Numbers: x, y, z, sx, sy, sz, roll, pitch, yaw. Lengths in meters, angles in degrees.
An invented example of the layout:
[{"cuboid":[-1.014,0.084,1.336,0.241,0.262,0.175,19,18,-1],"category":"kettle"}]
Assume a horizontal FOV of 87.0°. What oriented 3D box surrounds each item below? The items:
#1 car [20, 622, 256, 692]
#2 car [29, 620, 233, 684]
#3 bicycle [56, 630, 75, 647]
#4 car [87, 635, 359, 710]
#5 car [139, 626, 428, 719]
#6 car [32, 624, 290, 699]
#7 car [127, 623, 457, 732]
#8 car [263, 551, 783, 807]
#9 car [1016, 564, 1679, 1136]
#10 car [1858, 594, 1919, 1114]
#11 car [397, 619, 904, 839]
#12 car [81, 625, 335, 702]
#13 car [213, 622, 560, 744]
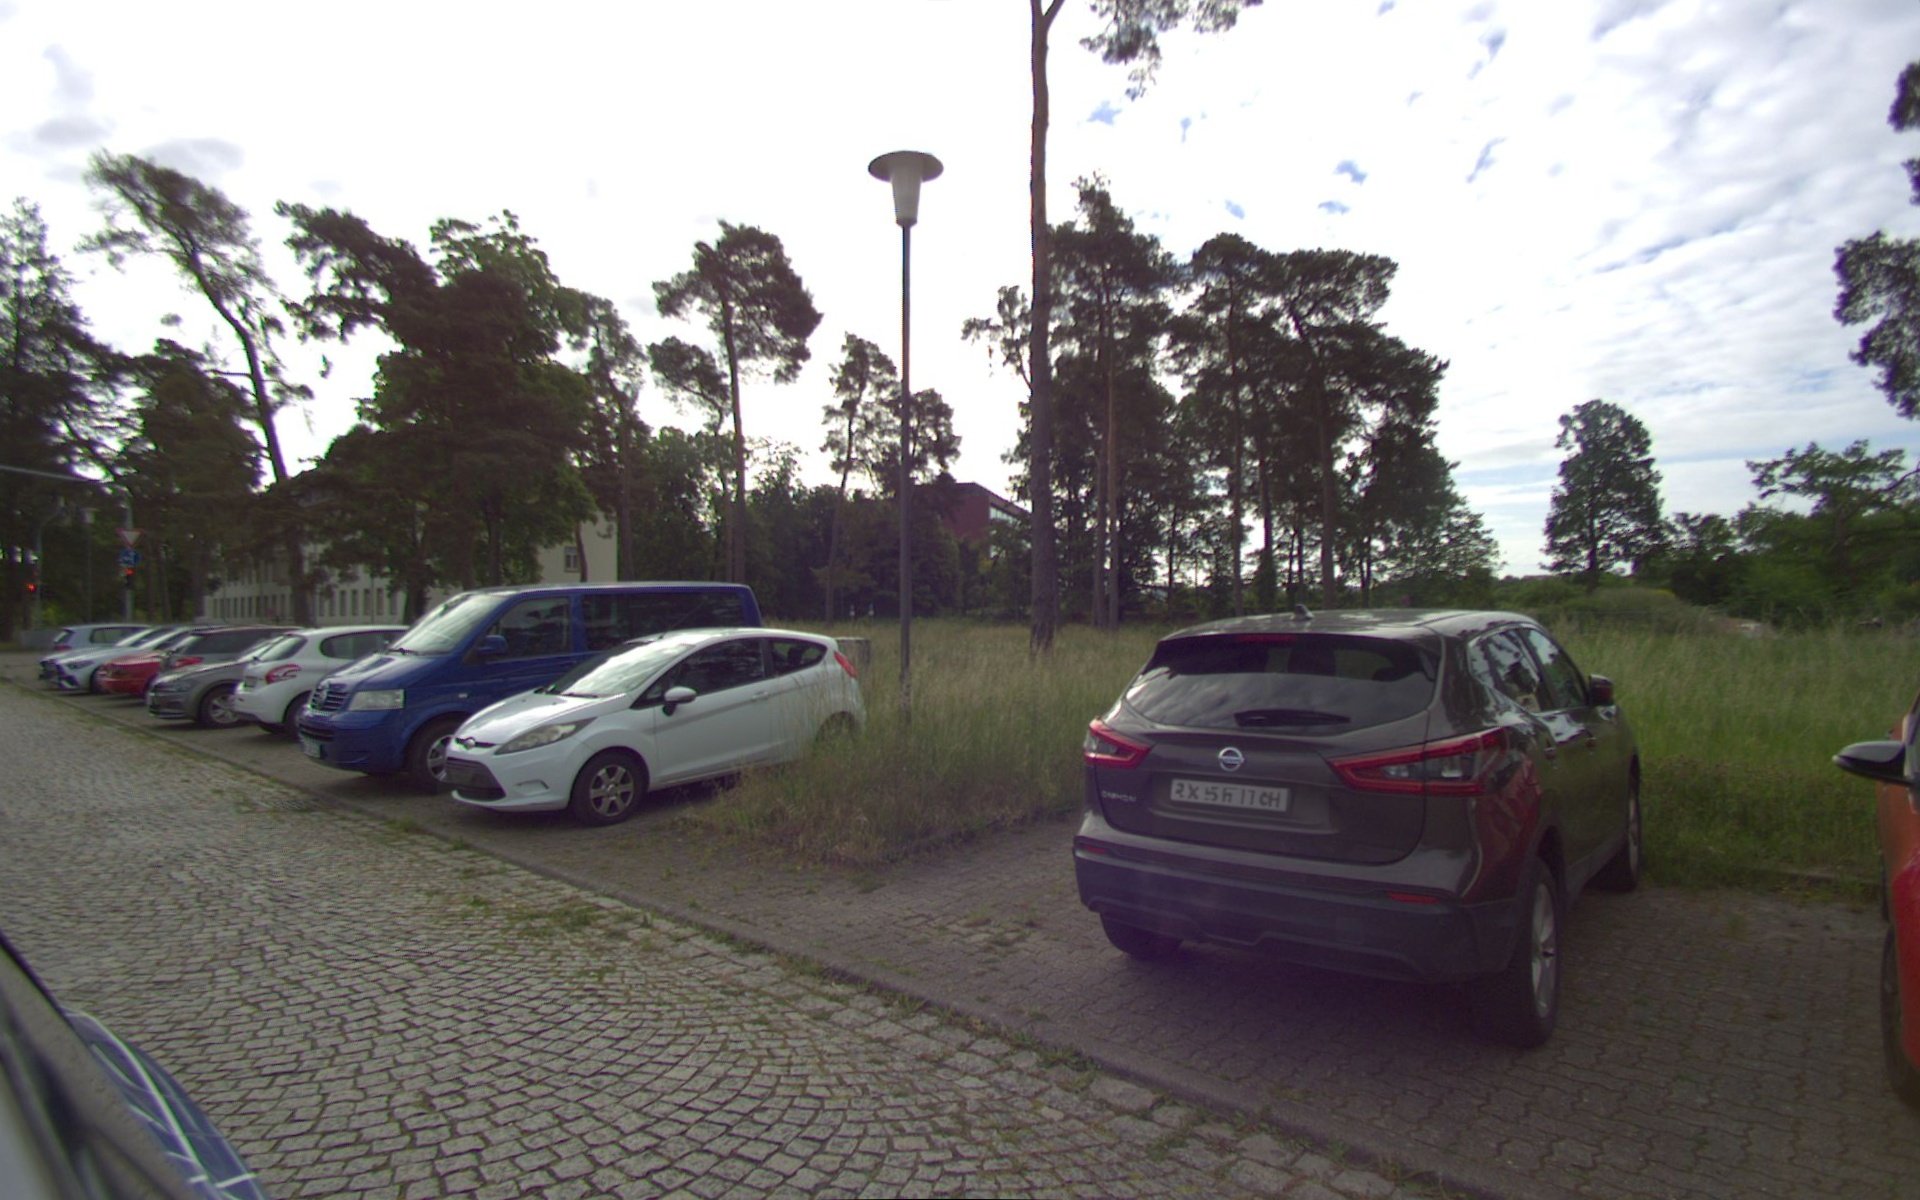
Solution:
[{"cuboid":[-20.193,1.334,25.015,1.933,1.560,4.209,-1,-2,38],"category":"car"},{"cuboid":[-22.055,1.331,27.033,1.904,1.555,3.946,-1,-2,40],"category":"car"},{"cuboid":[-47.085,2.019,53.262,1.046,0.923,0.291,-1,-2,20],"category":"bicycle"},{"cuboid":[-14.571,1.359,20.183,1.831,1.276,4.121,-2,-2,42],"category":"car"},{"cuboid":[-12.356,1.237,18.685,1.845,1.493,4.121,-2,-2,42],"category":"car"},{"cuboid":[-18.160,1.322,23.172,1.934,1.519,4.330,-1,-2,39],"category":"car"},{"cuboid":[-10.589,1.134,16.262,1.865,1.503,4.120,-2,-2,43],"category":"car"},{"cuboid":[-4.442,0.709,10.952,2.114,2.138,4.732,-1,-2,41],"category":"car"},{"cuboid":[2.287,0.763,5.155,1.984,1.634,4.125,-1,-2,39],"category":"car"},{"cuboid":[4.547,0.758,3.577,1.906,1.522,4.123,-1,-2,40],"category":"car"},{"cuboid":[-2.546,0.938,9.180,1.779,1.522,4.124,-1,-2,39],"category":"car"},{"cuboid":[-16.180,1.299,21.947,1.863,1.488,4.123,-1,-2,41],"category":"car"},{"cuboid":[-8.181,1.079,14.703,1.845,1.509,4.024,-2,-2,42],"category":"car"}]
